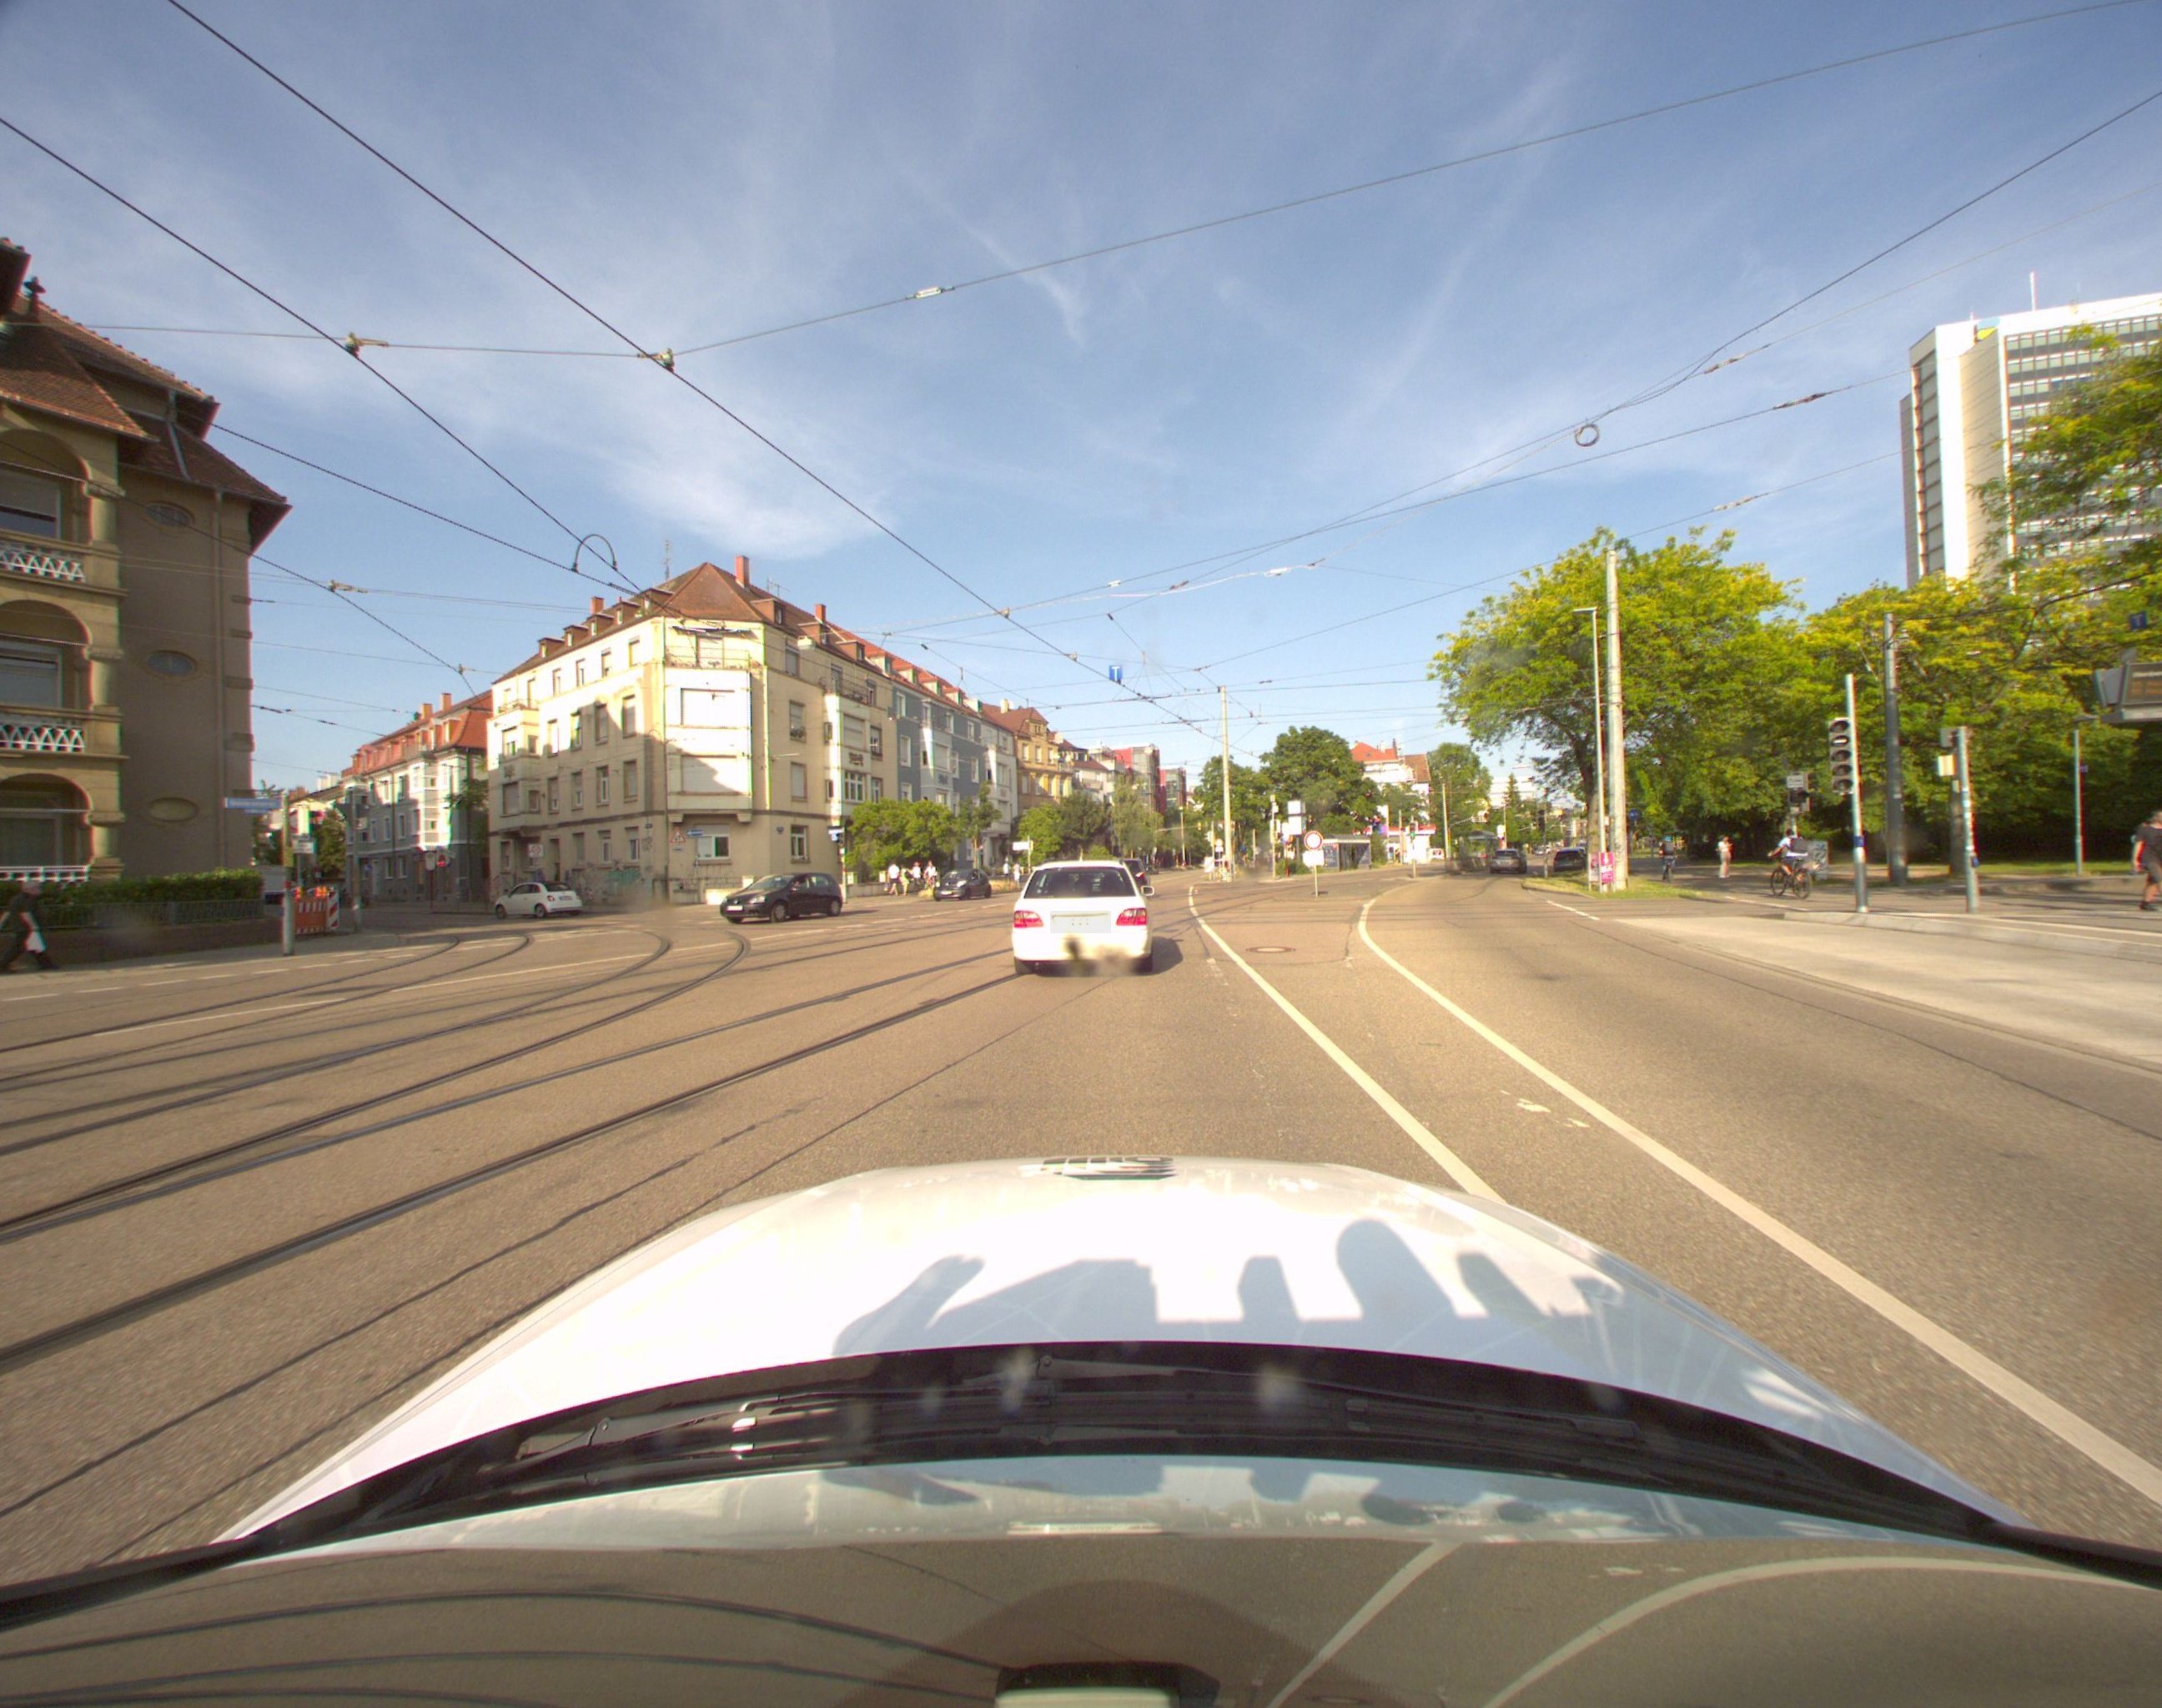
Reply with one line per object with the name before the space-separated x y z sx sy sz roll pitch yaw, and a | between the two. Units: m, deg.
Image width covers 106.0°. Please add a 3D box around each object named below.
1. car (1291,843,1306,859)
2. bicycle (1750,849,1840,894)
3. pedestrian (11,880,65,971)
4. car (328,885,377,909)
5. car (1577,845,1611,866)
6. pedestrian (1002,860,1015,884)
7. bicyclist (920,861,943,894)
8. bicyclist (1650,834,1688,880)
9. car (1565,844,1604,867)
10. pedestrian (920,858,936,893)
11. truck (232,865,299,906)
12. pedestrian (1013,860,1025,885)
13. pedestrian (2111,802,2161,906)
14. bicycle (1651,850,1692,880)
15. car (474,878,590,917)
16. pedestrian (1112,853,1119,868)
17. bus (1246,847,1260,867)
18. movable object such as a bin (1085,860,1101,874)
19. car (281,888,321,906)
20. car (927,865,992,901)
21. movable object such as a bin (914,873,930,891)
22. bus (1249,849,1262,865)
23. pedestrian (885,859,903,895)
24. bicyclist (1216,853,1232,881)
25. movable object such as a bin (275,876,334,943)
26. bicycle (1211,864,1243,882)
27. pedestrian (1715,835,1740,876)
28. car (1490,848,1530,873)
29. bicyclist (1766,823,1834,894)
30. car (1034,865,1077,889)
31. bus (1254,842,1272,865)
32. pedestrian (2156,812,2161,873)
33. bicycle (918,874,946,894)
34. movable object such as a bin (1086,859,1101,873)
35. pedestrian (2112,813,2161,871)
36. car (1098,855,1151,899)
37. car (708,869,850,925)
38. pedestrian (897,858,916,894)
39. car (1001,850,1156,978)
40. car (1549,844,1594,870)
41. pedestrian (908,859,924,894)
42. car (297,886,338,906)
car | 27.242 -0.318 102.003 1.732 1.874 4.017 -2 -1 16
bicycle | 18.669 0.465 21.354 0.638 1.088 1.941 -4 -1 3
pedestrian | -19.707 1.335 15.390 0.672 1.651 0.608 -2 -1 36
car | -49.353 2.896 55.156 3.948 1.457 1.811 -2 -1 38
car | 40.843 0.097 64.802 1.835 1.515 4.025 -4 -2 38
pedestrian | -5.293 1.292 59.163 0.634 1.751 0.914 -2 -1 12
bicyclist | -7.856 1.237 42.887 0.755 1.668 1.170 -2 -1 10
bicyclist | 23.370 0.106 32.386 0.715 1.746 1.144 -5 -2 13
car | 35.043 0.088 56.638 1.835 1.515 4.025 -4 -2 38
pedestrian | -8.427 1.193 44.838 0.580 1.881 0.629 -2 -1 14
truck | -79.757 3.035 79.538 9.795 3.728 3.277 -2 -1 37
pedestrian | -4.483 1.348 58.934 0.634 1.751 0.914 -2 -1 12
pedestrian | 18.640 0.006 14.219 0.573 1.777 0.590 0 -1 17
bicycle | 23.300 0.434 32.172 0.636 1.088 1.740 -4 -1 13
car | -22.456 1.775 33.343 3.956 1.457 1.808 -2 -1 17
pedestrian | 3.902 0.754 92.811 0.634 1.751 0.610 -2 -1 12
bus | 22.448 0.429 106.415 1.786 2.555 4.012 1 -1 11
movable object such as a bin | 1.226 1.344 85.512 1.596 1.421 1.085 -2 -1 2
car | -65.953 3.636 68.865 3.948 1.457 1.811 -2 -1 37
car | -5.423 1.275 36.795 1.623 1.433 3.641 -2 -1 13
movable object such as a bin | -8.905 1.552 45.563 0.578 0.947 0.666 -2 -1 19
bus | 25.940 0.434 121.396 1.786 2.333 4.011 1 -1 10
pedestrian | -9.824 1.191 42.789 0.654 1.881 0.629 -2 -1 13
bicyclist | 9.136 0.835 52.023 0.894 1.699 0.734 -3 -1 9
movable object such as a bin | -20.973 1.453 22.051 0.264 1.709 2.365 -1 -1 -21
bicycle | 9.310 1.196 51.993 1.902 0.994 0.728 -4 -1 9
pedestrian | 26.854 0.071 33.825 0.635 1.665 0.694 -2 -1 25
car | 28.022 0.413 53.152 1.817 1.600 3.839 0 -1 35
bicyclist | 18.628 0.130 21.130 0.646 1.746 1.141 -5 -2 3
car | -1.519 1.399 50.188 1.677 1.420 4.013 -2 -1 12
bus | 20.287 -0.045 90.776 1.786 2.413 4.011 1 -1 11
pedestrian | 29.985 -0.327 22.101 0.637 1.665 0.692 -2 -1 9
bicycle | -7.835 1.591 42.980 0.764 0.965 2.040 -2 -1 10
movable object such as a bin | 1.319 1.316 86.686 1.527 1.421 1.085 -2 -1 2
pedestrian | 29.854 -0.325 22.963 0.637 1.610 0.692 -2 -1 9
car | 1.753 0.843 31.478 1.632 1.600 3.825 0 -1 9
car | -8.964 1.243 24.570 1.752 1.433 4.021 -2 -1 21
pedestrian | -9.160 1.164 42.777 0.669 1.848 0.652 -2 -1 16
car | 0.033 0.718 11.483 1.828 1.501 3.816 0 -1 2
car | 31.670 0.153 52.551 1.835 1.515 4.025 -4 -2 39
pedestrian | -9.051 1.251 44.730 0.580 1.881 0.629 -2 -1 13
car | -61.879 3.393 65.984 3.948 1.457 1.811 -2 -1 38
